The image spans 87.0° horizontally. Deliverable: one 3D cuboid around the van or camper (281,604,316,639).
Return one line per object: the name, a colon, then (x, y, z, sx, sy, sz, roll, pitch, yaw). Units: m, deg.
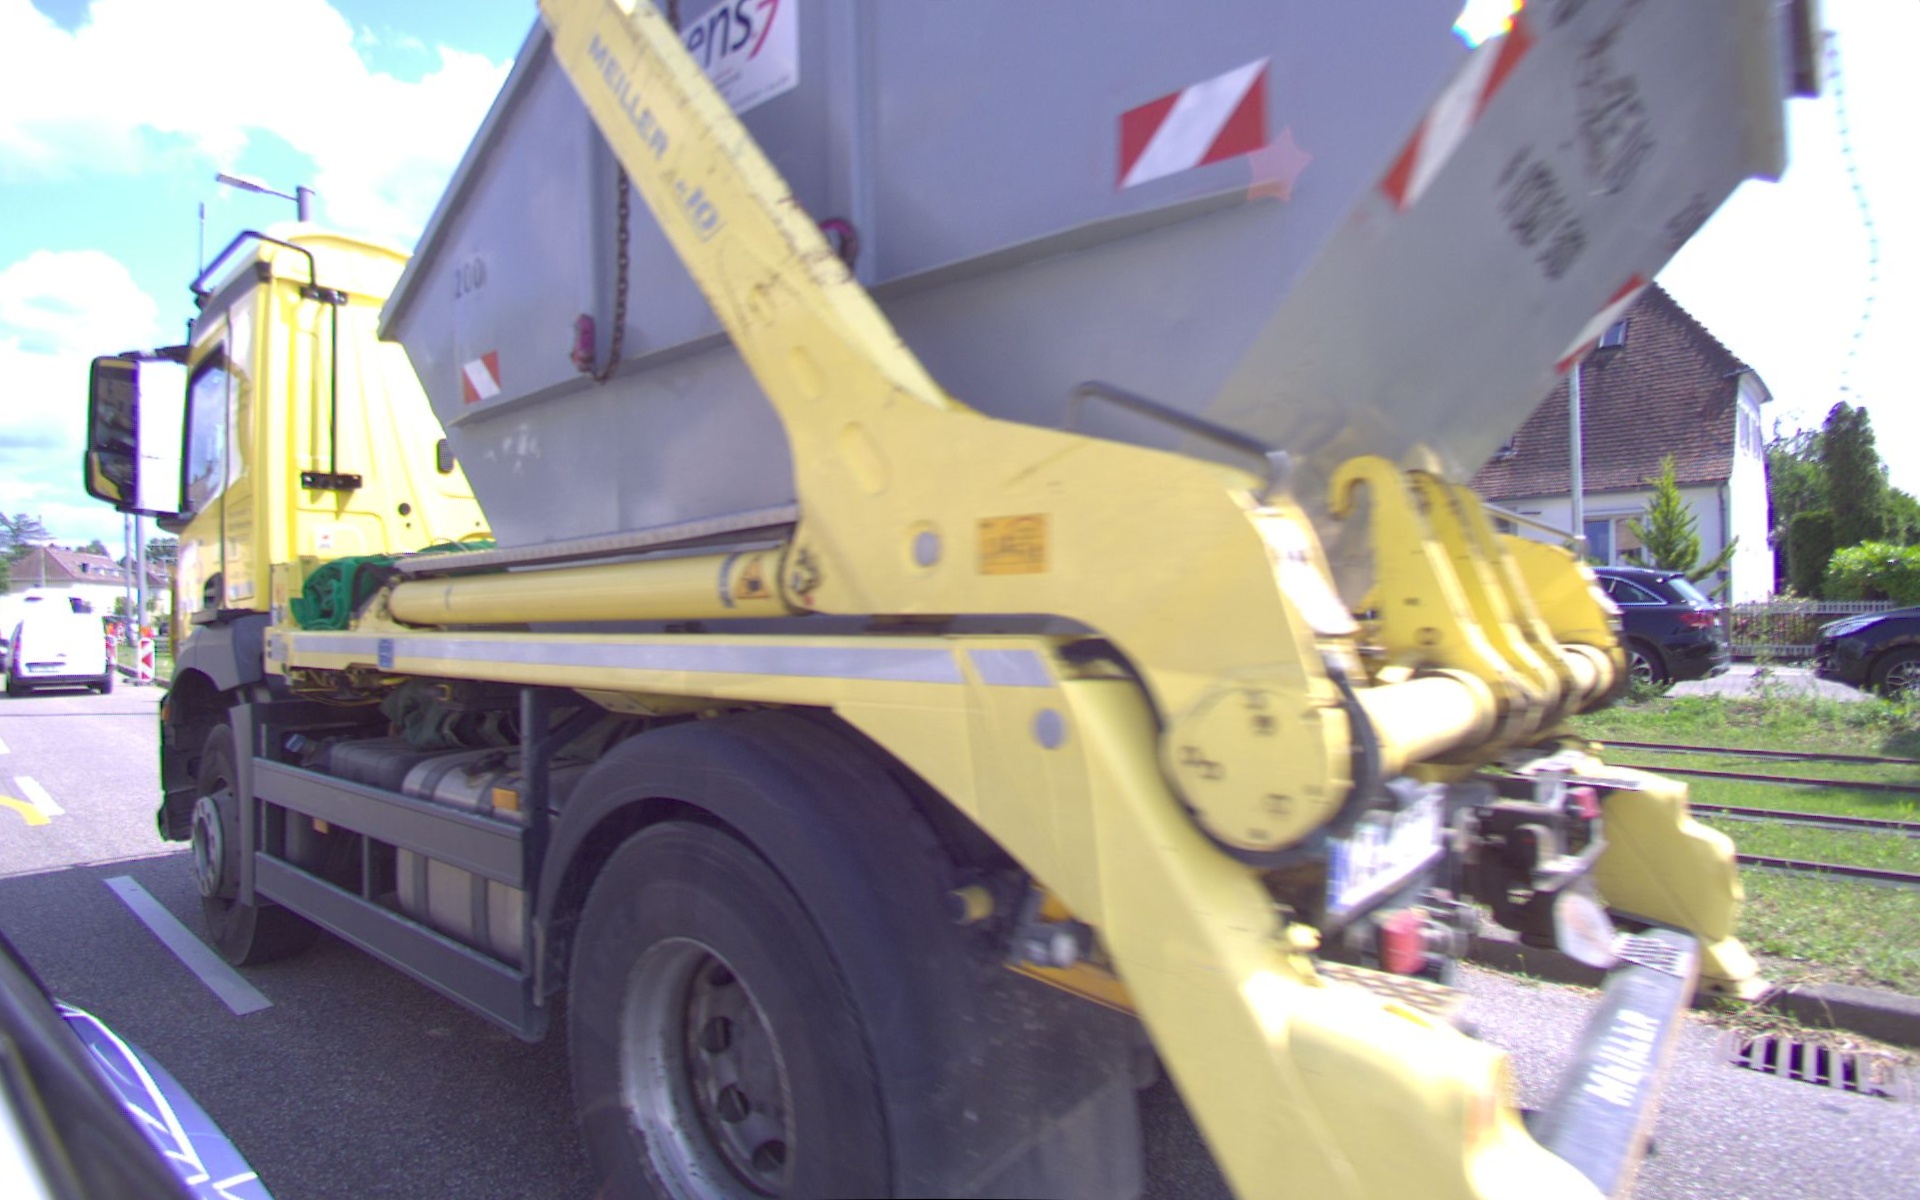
van or camper: (-59.914, 1.893, 91.612, 2.344, 2.992, 7.314, -1, 0, -35)

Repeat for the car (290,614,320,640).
car: (-55.826, 2.277, 86.186, 1.967, 2.029, 4.916, -1, 0, -35)

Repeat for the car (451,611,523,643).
car: (-31.508, 1.778, 67.475, 1.936, 1.911, 3.856, -2, 1, 31)

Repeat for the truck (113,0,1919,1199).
truck: (-1.079, -0.272, 3.988, 7.149, 3.486, 2.532, -2, -2, 43)

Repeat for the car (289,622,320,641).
car: (-52.486, 2.521, 81.064, 1.826, 1.397, 4.823, -1, 0, -31)

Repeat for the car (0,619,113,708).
car: (-20.791, 1.369, 23.025, 4.307, 1.787, 1.716, -2, 0, 42)

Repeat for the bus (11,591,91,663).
bus: (-48.655, 1.447, 54.012, 2.606, 3.438, 12.255, 1, -2, -44)

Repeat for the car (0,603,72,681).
car: (-32.324, 1.402, 35.056, 2.078, 2.462, 5.575, -1, 0, -44)

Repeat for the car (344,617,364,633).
car: (-68.307, 2.789, 114.049, 1.855, 1.781, 5.097, -1, 0, -32)

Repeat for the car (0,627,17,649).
car: (-70.039, 2.770, 73.674, 1.507, 1.492, 3.819, 0, -1, -34)
